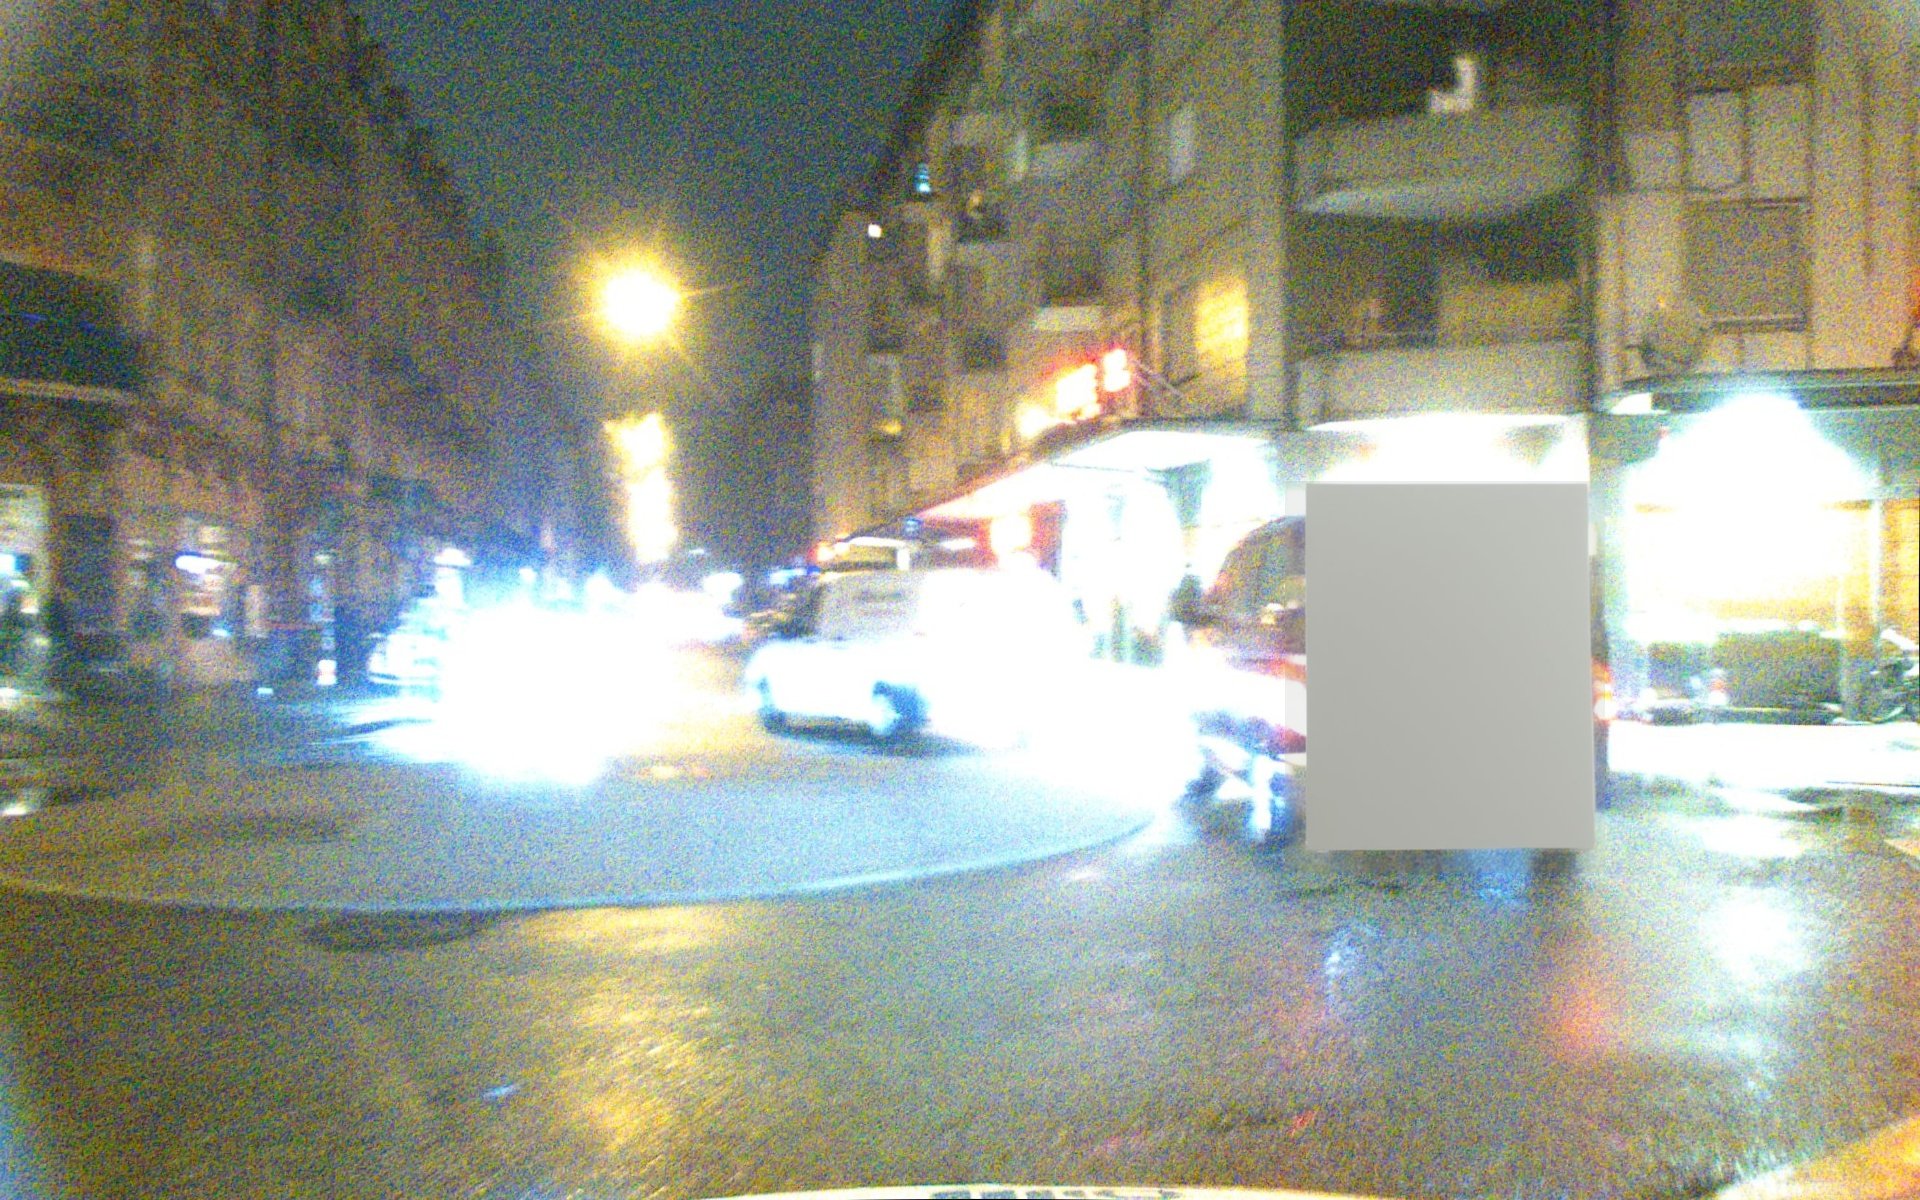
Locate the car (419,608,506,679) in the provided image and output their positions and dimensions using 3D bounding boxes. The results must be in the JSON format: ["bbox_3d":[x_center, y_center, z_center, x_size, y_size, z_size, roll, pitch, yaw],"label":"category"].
[{"bbox_3d":[-11.207,0.956,37.384,1.557,1.536,2.780,1,0,-10],"label":"car"}]

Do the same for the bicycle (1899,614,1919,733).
[{"bbox_3d":[10.475,0.746,16.640,1.743,1.194,0.384,0,0,18],"label":"bicycle"}]

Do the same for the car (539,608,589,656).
[{"bbox_3d":[-17.898,1.444,74.858,1.958,2.049,3.988,2,-1,-11],"label":"car"}]

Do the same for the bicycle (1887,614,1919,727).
[{"bbox_3d":[10.795,0.773,17.552,1.607,1.195,0.384,1,-3,18],"label":"bicycle"}]

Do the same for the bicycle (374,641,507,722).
[{"bbox_3d":[-7.382,1.140,23.556,1.768,1.078,0.711,0,0,-18],"label":"bicycle"}]

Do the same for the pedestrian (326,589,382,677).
[{"bbox_3d":[-12.695,0.697,34.660,0.788,1.797,1.015,2,-1,-5],"label":"pedestrian"}]

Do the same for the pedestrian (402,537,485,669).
[{"bbox_3d":[-7.350,0.031,23.576,1.104,1.843,0.711,0,0,-17],"label":"pedestrian"}]

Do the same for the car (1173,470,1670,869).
[{"bbox_3d":[2.657,0.369,10.763,2.078,2.026,4.602,0,0,2],"label":"car"}]

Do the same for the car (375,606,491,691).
[{"bbox_3d":[-10.275,0.908,32.458,1.557,1.489,4.014,3,-1,-10],"label":"car"}]

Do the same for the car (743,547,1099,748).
[{"bbox_3d":[-0.616,0.470,18.758,2.099,1.956,4.780,1,0,-29],"label":"car"}]

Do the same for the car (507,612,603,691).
[{"bbox_3d":[-8.209,0.992,33.771,1.534,1.452,4.060,-1,0,-9],"label":"car"}]

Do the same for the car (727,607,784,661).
[{"bbox_3d":[-6.327,1.055,51.003,1.563,1.570,3.411,1,-1,-10],"label":"car"}]
